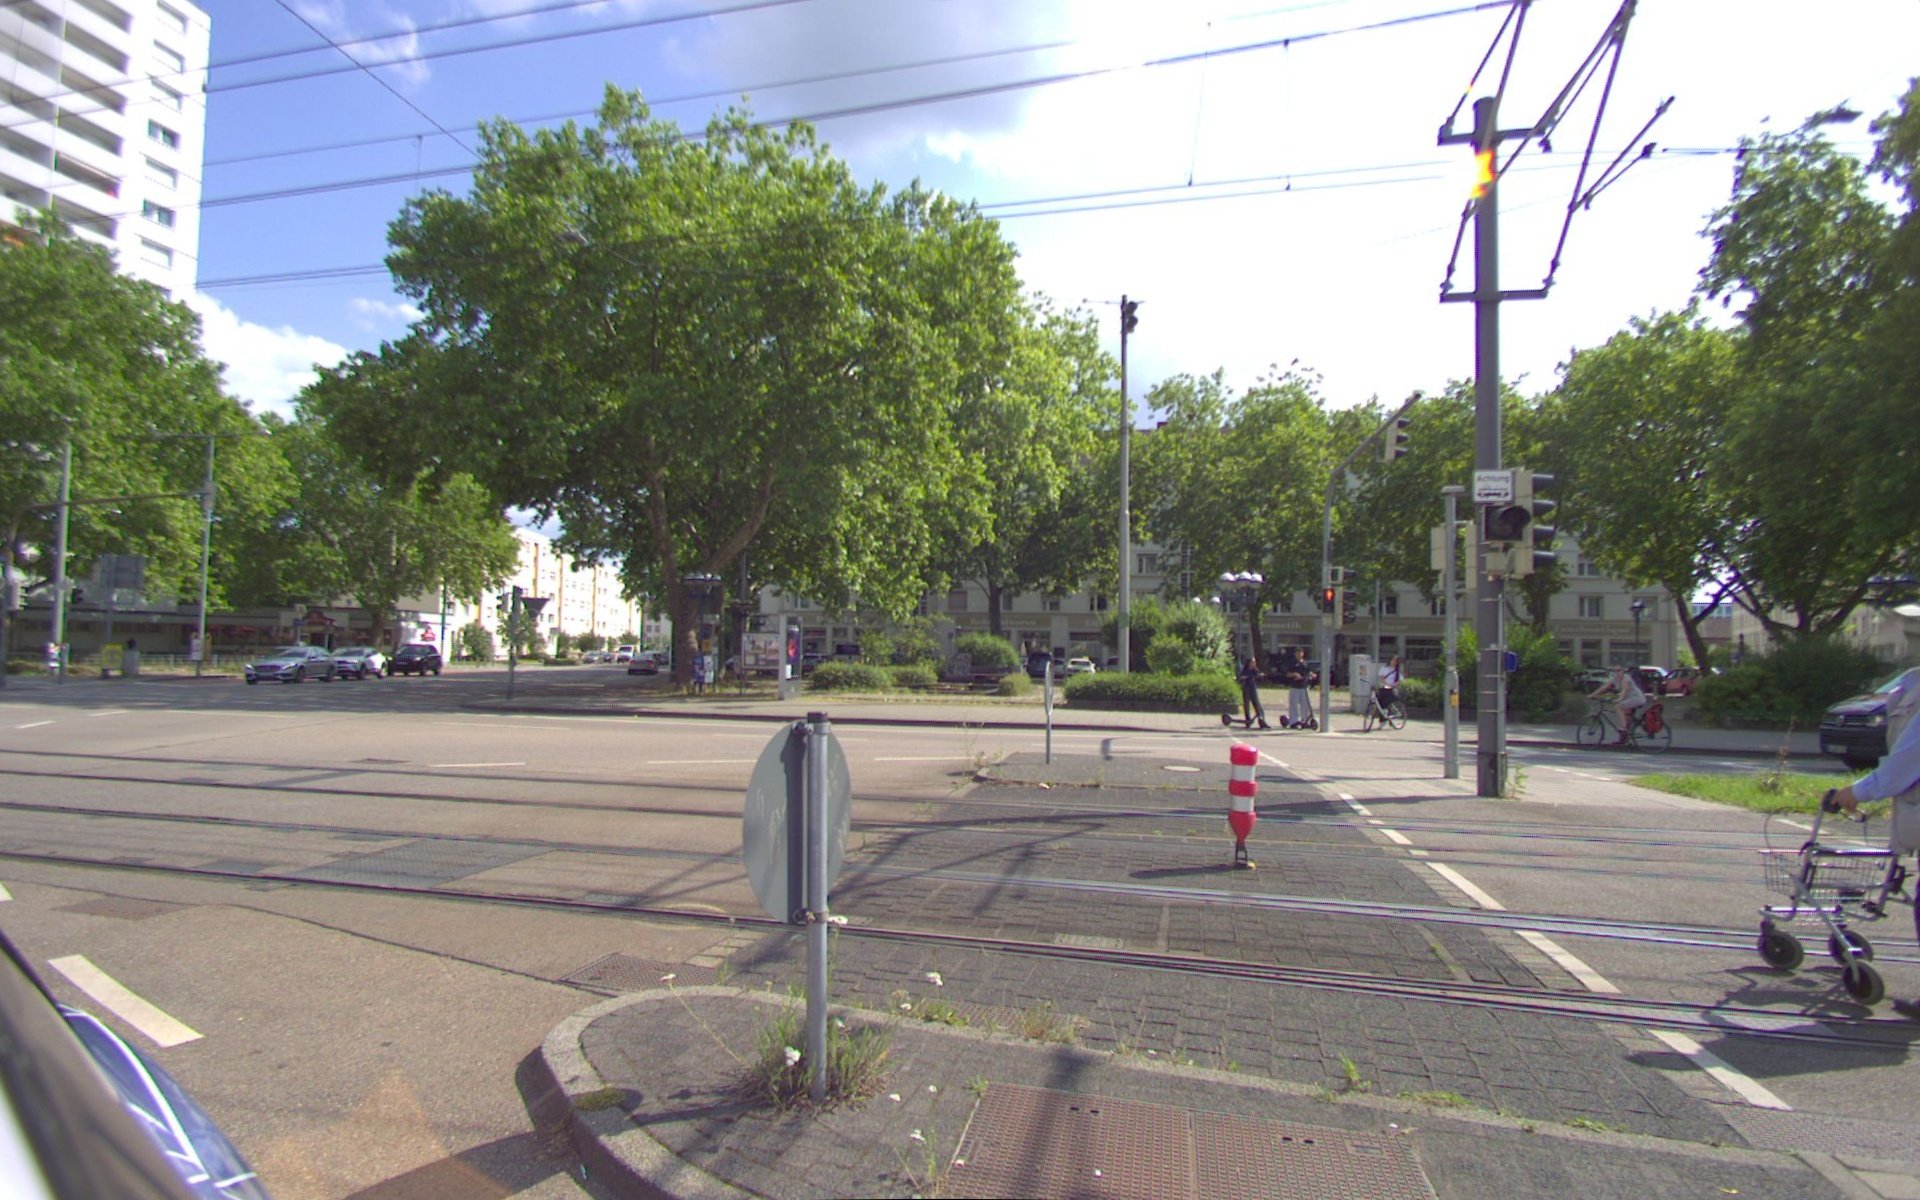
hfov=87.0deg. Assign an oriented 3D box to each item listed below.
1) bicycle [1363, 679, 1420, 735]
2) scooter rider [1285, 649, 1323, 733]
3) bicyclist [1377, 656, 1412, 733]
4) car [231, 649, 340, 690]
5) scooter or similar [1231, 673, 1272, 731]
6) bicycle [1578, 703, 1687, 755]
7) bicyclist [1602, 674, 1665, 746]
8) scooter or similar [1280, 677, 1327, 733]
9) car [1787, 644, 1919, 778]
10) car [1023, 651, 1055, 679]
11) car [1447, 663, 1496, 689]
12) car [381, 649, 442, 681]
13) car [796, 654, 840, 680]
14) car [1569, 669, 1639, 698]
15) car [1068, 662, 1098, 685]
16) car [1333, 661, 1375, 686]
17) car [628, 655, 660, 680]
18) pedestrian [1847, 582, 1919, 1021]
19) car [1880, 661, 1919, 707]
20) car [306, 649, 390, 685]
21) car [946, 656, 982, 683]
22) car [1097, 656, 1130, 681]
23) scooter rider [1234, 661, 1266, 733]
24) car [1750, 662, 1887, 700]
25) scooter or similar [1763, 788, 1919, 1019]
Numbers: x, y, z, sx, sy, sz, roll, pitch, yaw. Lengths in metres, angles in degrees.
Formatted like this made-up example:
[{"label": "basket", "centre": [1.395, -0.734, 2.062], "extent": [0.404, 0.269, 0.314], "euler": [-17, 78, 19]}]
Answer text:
[{"label": "bicycle", "centre": [9.766, 2.397, 22.864], "extent": [1.605, 1.121, 0.508], "euler": [1, -1, -40]}, {"label": "scooter rider", "centre": [7.780, 2.041, 22.855], "extent": [0.678, 1.824, 0.538], "euler": [0, -2, 37]}, {"label": "bicyclist", "centre": [9.832, 2.121, 22.924], "extent": [0.574, 1.681, 0.508], "euler": [1, -1, -40]}, {"label": "car", "centre": [-26.136, 2.674, 39.376], "extent": [1.832, 1.501, 4.005], "euler": [1, -3, -6]}, {"label": "scooter or similar", "centre": [6.633, 2.318, 23.070], "extent": [0.536, 1.235, 0.879], "euler": [1, -2, -11]}, {"label": "bicycle", "centre": [13.183, 2.522, 19.881], "extent": [1.704, 0.928, 0.468], "euler": [0, -3, 20]}, {"label": "bicyclist", "centre": [13.218, 2.154, 19.889], "extent": [0.902, 1.354, 0.468], "euler": [0, -3, 20]}, {"label": "scooter or similar", "centre": [7.764, 2.355, 22.858], "extent": [0.875, 1.180, 0.538], "euler": [0, -2, 37]}, {"label": "car", "centre": [16.673, 1.686, 15.843], "extent": [5.279, 2.002, 2.074], "euler": [-1, -4, 11]}, {"label": "car", "centre": [5.140, 4.169, 65.380], "extent": [1.976, 1.697, 3.992], "euler": [1, -3, 6]}, {"label": "car", "centre": [35.238, 5.198, 69.836], "extent": [1.830, 1.672, 4.072], "euler": [1, -3, 8]}, {"label": "car", "centre": [-28.982, 3.412, 53.576], "extent": [1.663, 1.632, 4.009], "euler": [1, -3, -11]}, {"label": "car", "centre": [-9.610, 4.516, 68.663], "extent": [1.831, 1.672, 4.071], "euler": [1, -3, 10]}, {"label": "car", "centre": [36.672, 4.727, 57.719], "extent": [1.830, 1.545, 4.072], "euler": [1, -3, 8]}, {"label": "car", "centre": [7.791, 4.649, 64.390], "extent": [1.846, 1.364, 3.936], "euler": [1, -3, 6]}, {"label": "car", "centre": [27.596, 5.127, 70.979], "extent": [1.830, 1.672, 4.072], "euler": [1, -3, 8]}, {"label": "car", "centre": [-20.745, 4.417, 66.524], "extent": [1.662, 1.513, 4.010], "euler": [2, -2, -12]}, {"label": "pedestrian", "centre": [4.112, 0.808, 4.087], "extent": [0.550, 1.746, 0.527], "euler": [0, -3, 6]}, {"label": "car", "centre": [43.617, 3.705, 44.163], "extent": [4.631, 1.949, 1.993], "euler": [0, -6, 11]}, {"label": "car", "centre": [-27.533, 3.005, 45.682], "extent": [1.831, 1.501, 4.084], "euler": [1, -3, -10]}, {"label": "car", "centre": [0.268, 4.485, 66.142], "extent": [1.830, 1.672, 4.073], "euler": [1, -3, 8]}, {"label": "car", "centre": [9.786, 4.365, 64.675], "extent": [1.846, 1.530, 3.936], "euler": [1, -3, 6]}, {"label": "scooter rider", "centre": [6.623, 2.212, 23.124], "extent": [0.536, 1.605, 0.439], "euler": [1, -2, -11]}, {"label": "car", "centre": [45.889, 4.338, 54.223], "extent": [5.193, 1.886, 1.994], "euler": [0, -6, 9]}, {"label": "scooter or similar", "centre": [4.150, 1.305, 4.480], "extent": [0.547, 0.810, 0.839], "euler": [0, -3, 7]}]
